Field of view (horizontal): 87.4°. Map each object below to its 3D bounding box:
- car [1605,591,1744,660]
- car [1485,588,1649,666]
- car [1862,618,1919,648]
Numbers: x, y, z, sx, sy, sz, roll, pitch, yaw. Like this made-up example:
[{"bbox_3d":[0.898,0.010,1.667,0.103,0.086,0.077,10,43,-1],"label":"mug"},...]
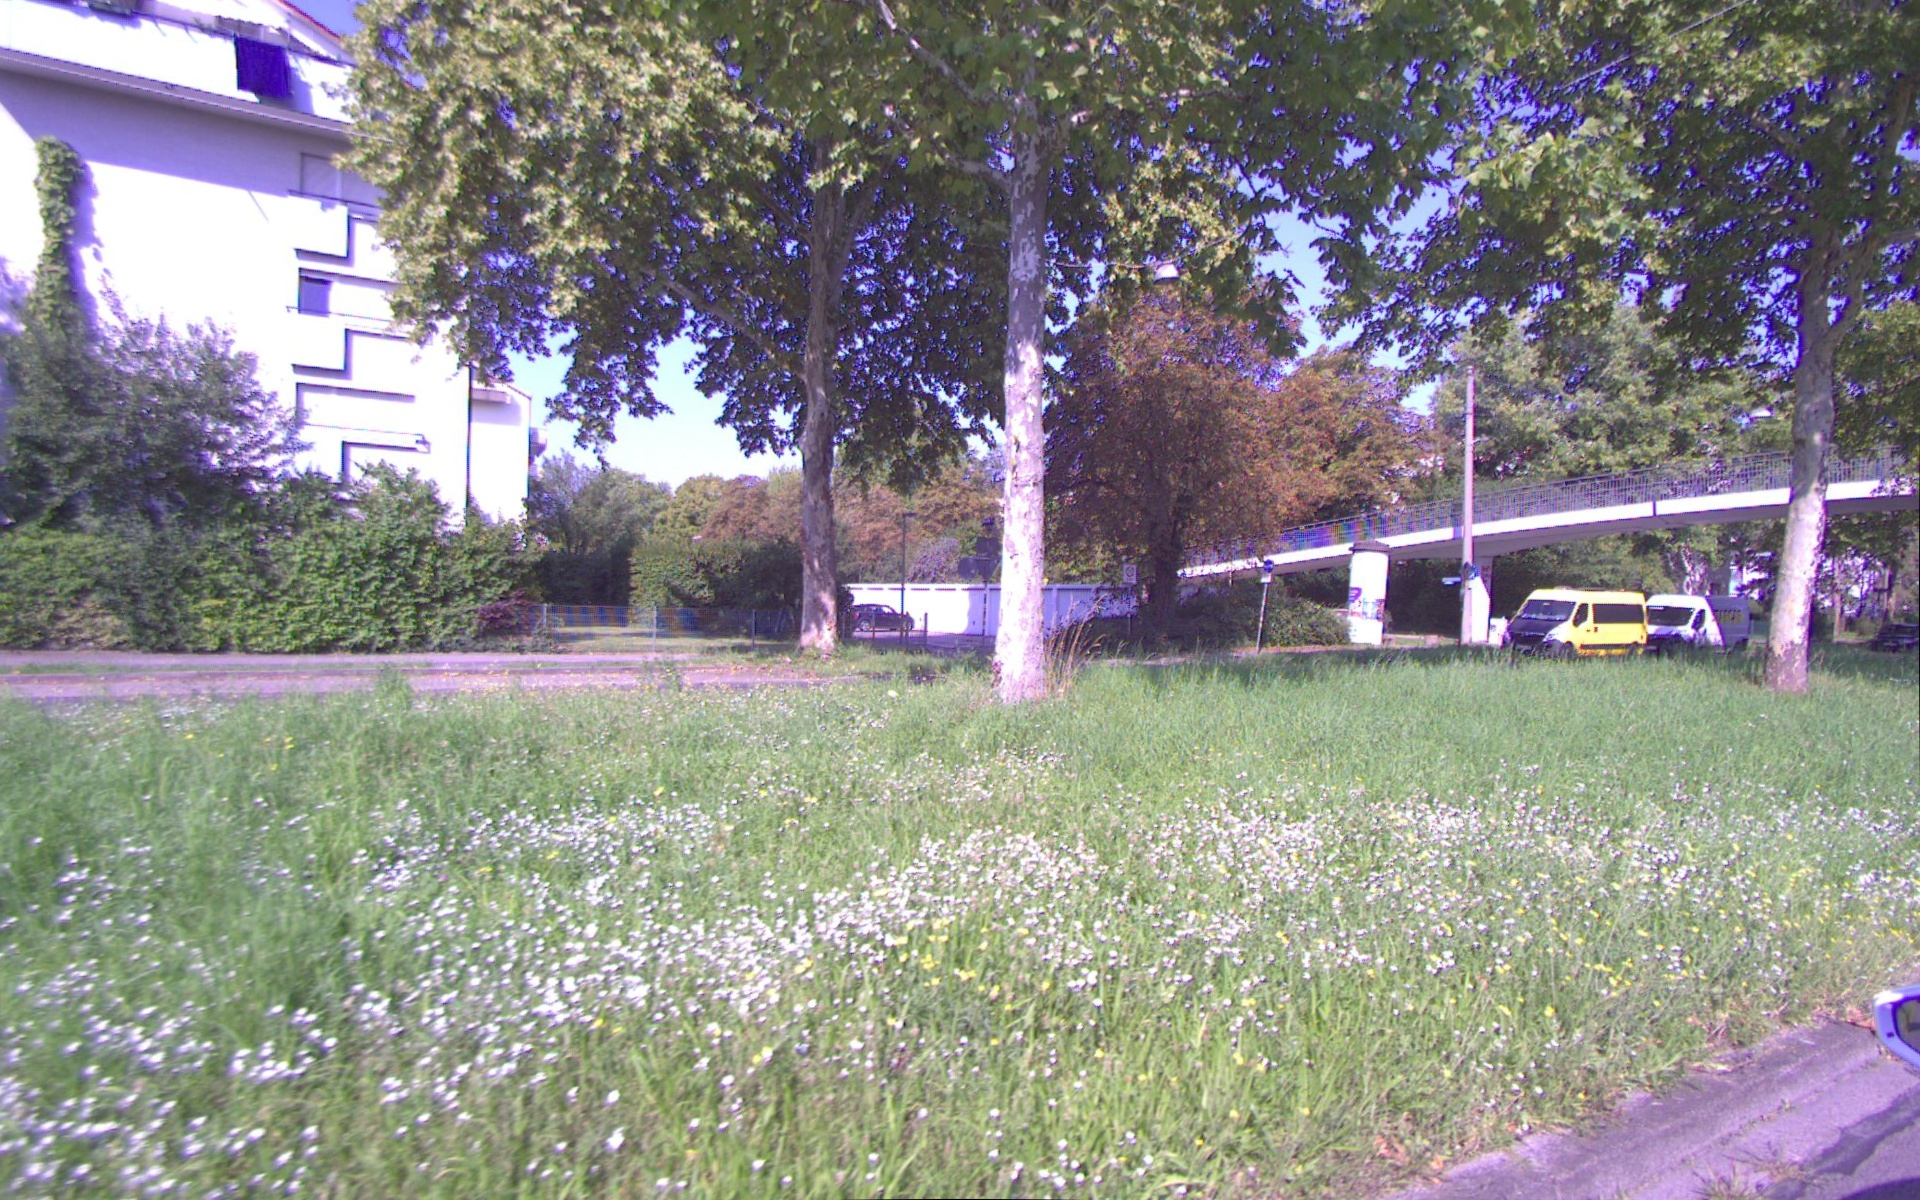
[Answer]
[{"bbox_3d":[27.643,0.982,38.799,6.198,2.462,2.195,2,0,-33],"label":"car"},{"bbox_3d":[21.040,0.929,34.730,5.989,2.512,2.197,2,0,-30],"label":"car"},{"bbox_3d":[49.693,1.747,53.282,3.816,1.553,1.516,1,0,-29],"label":"car"}]
